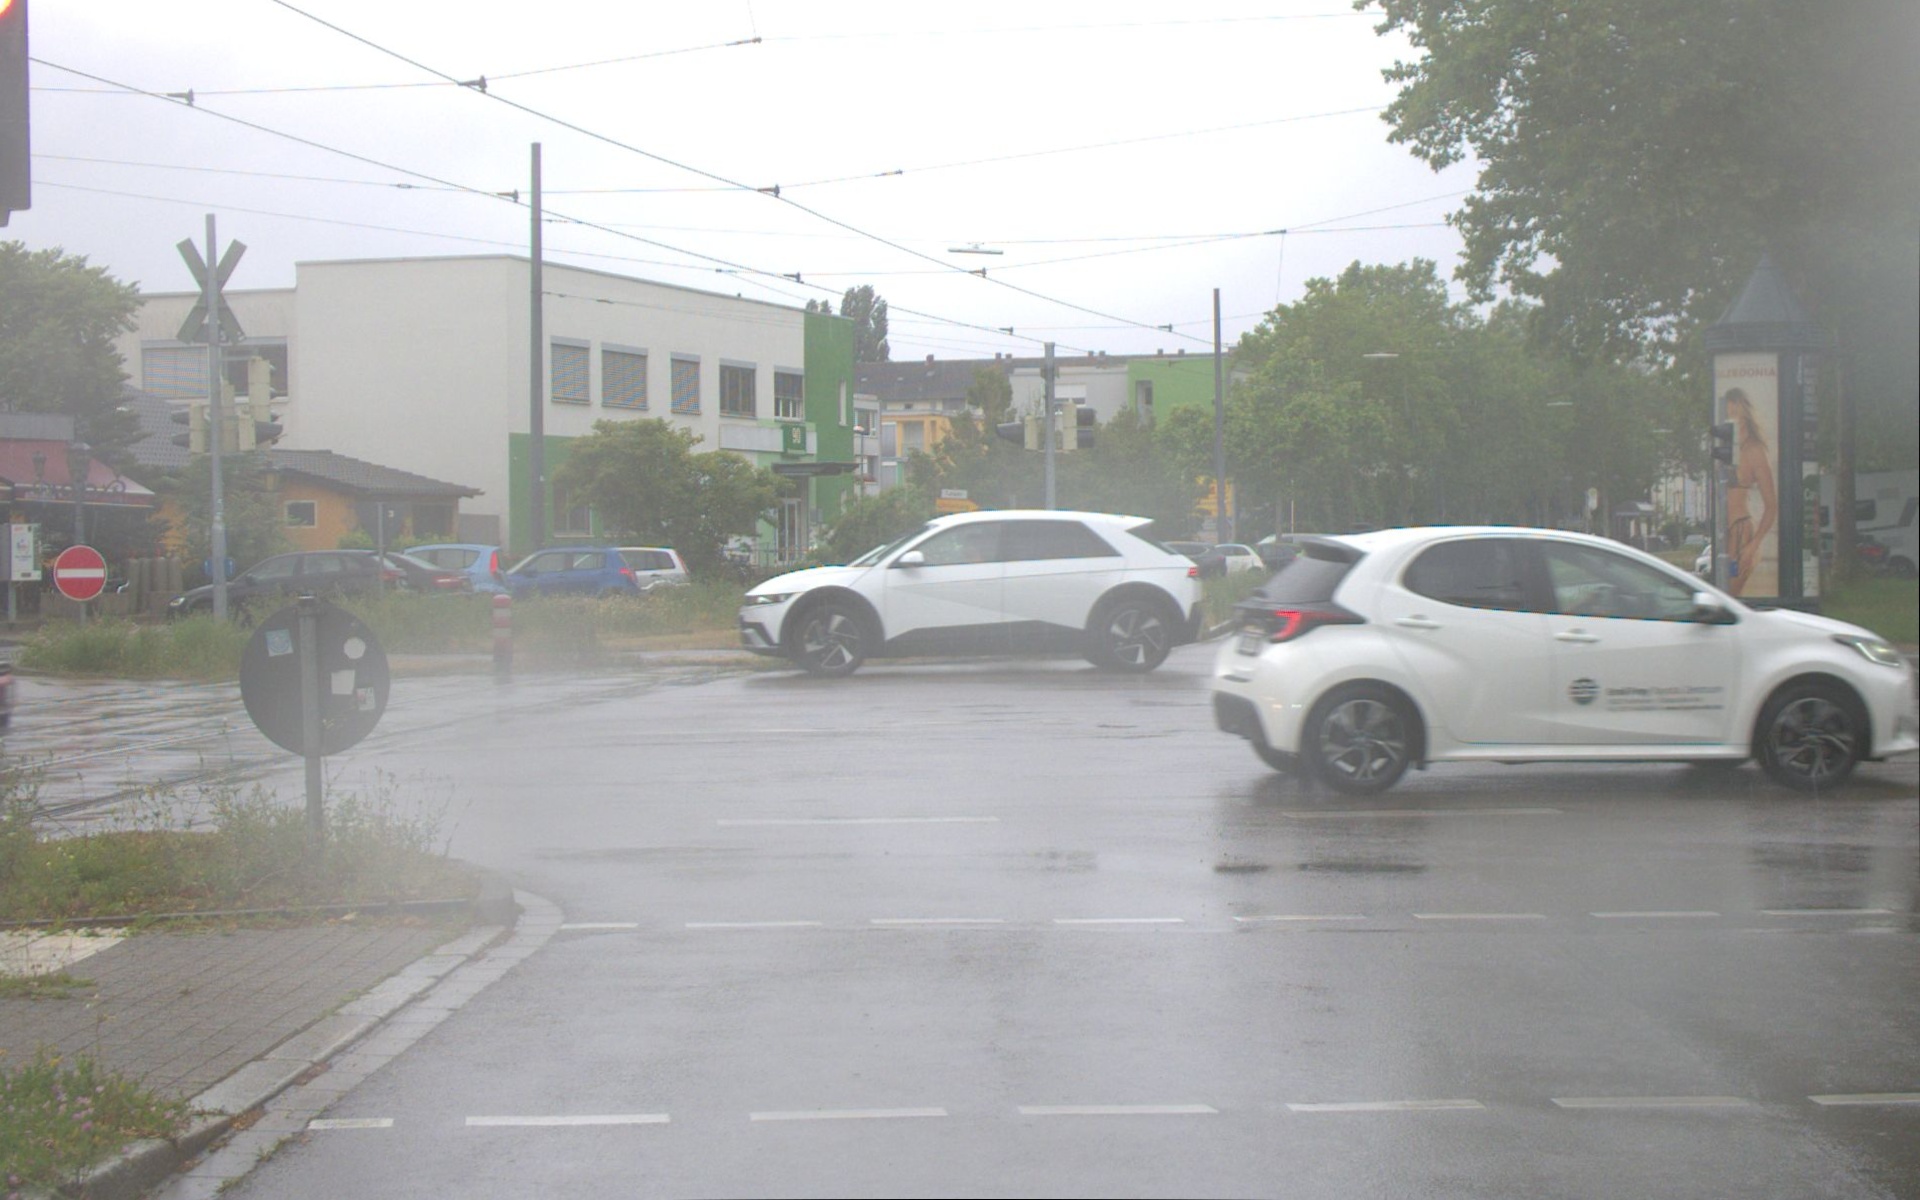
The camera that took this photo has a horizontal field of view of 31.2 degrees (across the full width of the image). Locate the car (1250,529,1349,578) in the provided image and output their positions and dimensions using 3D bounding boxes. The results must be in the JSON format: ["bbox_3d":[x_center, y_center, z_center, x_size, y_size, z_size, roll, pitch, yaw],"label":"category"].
[{"bbox_3d":[14.434,-1.986,146.247,4.136,1.969,1.673,-1,1,6],"label":"car"}]

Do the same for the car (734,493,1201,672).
[{"bbox_3d":[0.034,-0.184,34.284,4.460,1.650,1.652,-1,1,-7],"label":"car"}]

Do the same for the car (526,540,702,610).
[{"bbox_3d":[-7.545,-0.559,74.817,3.749,1.437,1.763,-1,1,-7],"label":"car"}]

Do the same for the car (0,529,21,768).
[{"bbox_3d":[-8.038,0.331,21.639,3.906,1.493,1.652,-1,2,-8],"label":"car"}]

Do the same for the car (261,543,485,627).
[{"bbox_3d":[-10.740,-0.281,63.086,3.750,1.437,1.762,-1,1,2],"label":"car"}]

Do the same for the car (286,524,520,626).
[{"bbox_3d":[-10.759,-0.485,66.541,4.136,1.853,1.673,-1,1,6],"label":"car"}]

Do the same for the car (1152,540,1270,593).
[{"bbox_3d":[9.372,-1.256,128.358,4.134,1.853,1.674,-1,1,-5],"label":"car"}]

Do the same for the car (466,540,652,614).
[{"bbox_3d":[-8.344,-0.491,71.523,3.749,1.437,1.763,-1,1,-7],"label":"car"}]

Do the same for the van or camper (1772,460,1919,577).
[{"bbox_3d":[22.013,-1.922,81.411,5.225,2.688,2.241,2,2,17],"label":"van or camper"}]

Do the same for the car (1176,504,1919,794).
[{"bbox_3d":[3.397,0.248,19.641,4.064,1.494,1.652,-1,1,-6],"label":"car"}]

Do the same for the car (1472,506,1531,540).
[{"bbox_3d":[33.667,-4.774,213.718,3.446,2.007,1.806,-1,1,16],"label":"car"}]

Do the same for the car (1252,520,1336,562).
[{"bbox_3d":[16.714,-2.966,171.985,3.989,2.007,1.833,-1,0,13],"label":"car"}]
